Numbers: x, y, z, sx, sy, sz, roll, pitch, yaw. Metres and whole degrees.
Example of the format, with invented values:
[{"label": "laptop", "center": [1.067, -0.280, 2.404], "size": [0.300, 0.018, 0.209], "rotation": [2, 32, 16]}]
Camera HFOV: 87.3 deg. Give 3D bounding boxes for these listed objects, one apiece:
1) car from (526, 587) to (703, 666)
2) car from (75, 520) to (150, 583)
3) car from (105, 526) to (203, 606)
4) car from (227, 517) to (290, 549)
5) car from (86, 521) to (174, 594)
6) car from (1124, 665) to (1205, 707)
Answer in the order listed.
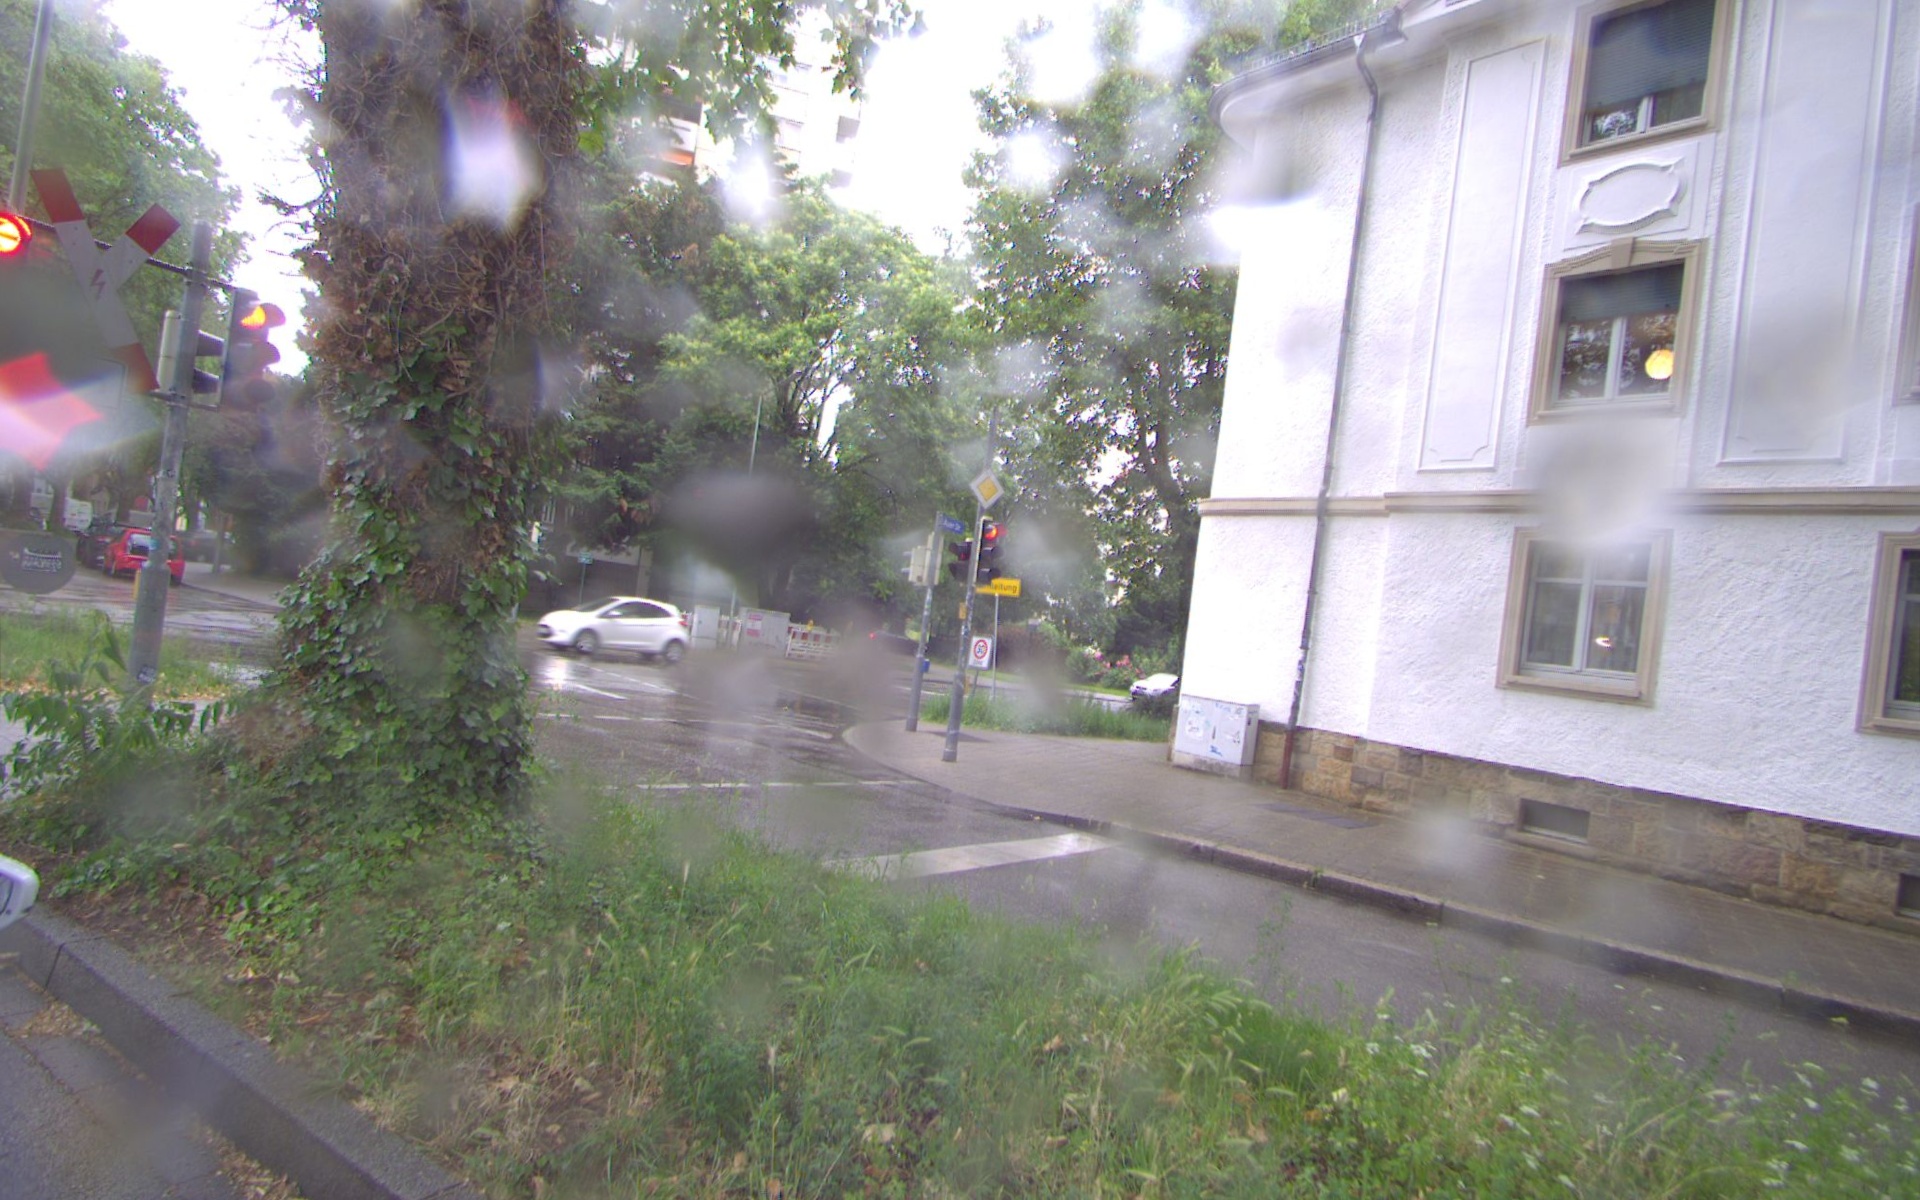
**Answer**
[{"label": "car", "center": [-8.455, 0.681, 24.774], "size": [3.630, 1.504, 1.704], "rotation": [8, 0, -43]}, {"label": "car", "center": [-32.842, -1.889, 38.945], "size": [1.986, 2.038, 3.953], "rotation": [7, 0, -42]}, {"label": "car", "center": [-24.703, -1.070, 30.792], "size": [1.986, 2.038, 3.953], "rotation": [7, 0, -42]}, {"label": "car", "center": [-57.092, -5.451, 81.854], "size": [3.969, 2.038, 1.689], "rotation": [7, 0, -39]}, {"label": "car", "center": [-28.071, -1.461, 33.983], "size": [1.986, 2.038, 3.953], "rotation": [7, 0, -42]}, {"label": "car", "center": [9.311, 3.913, 45.665], "size": [3.630, 1.504, 1.704], "rotation": [8, 0, -43]}]
